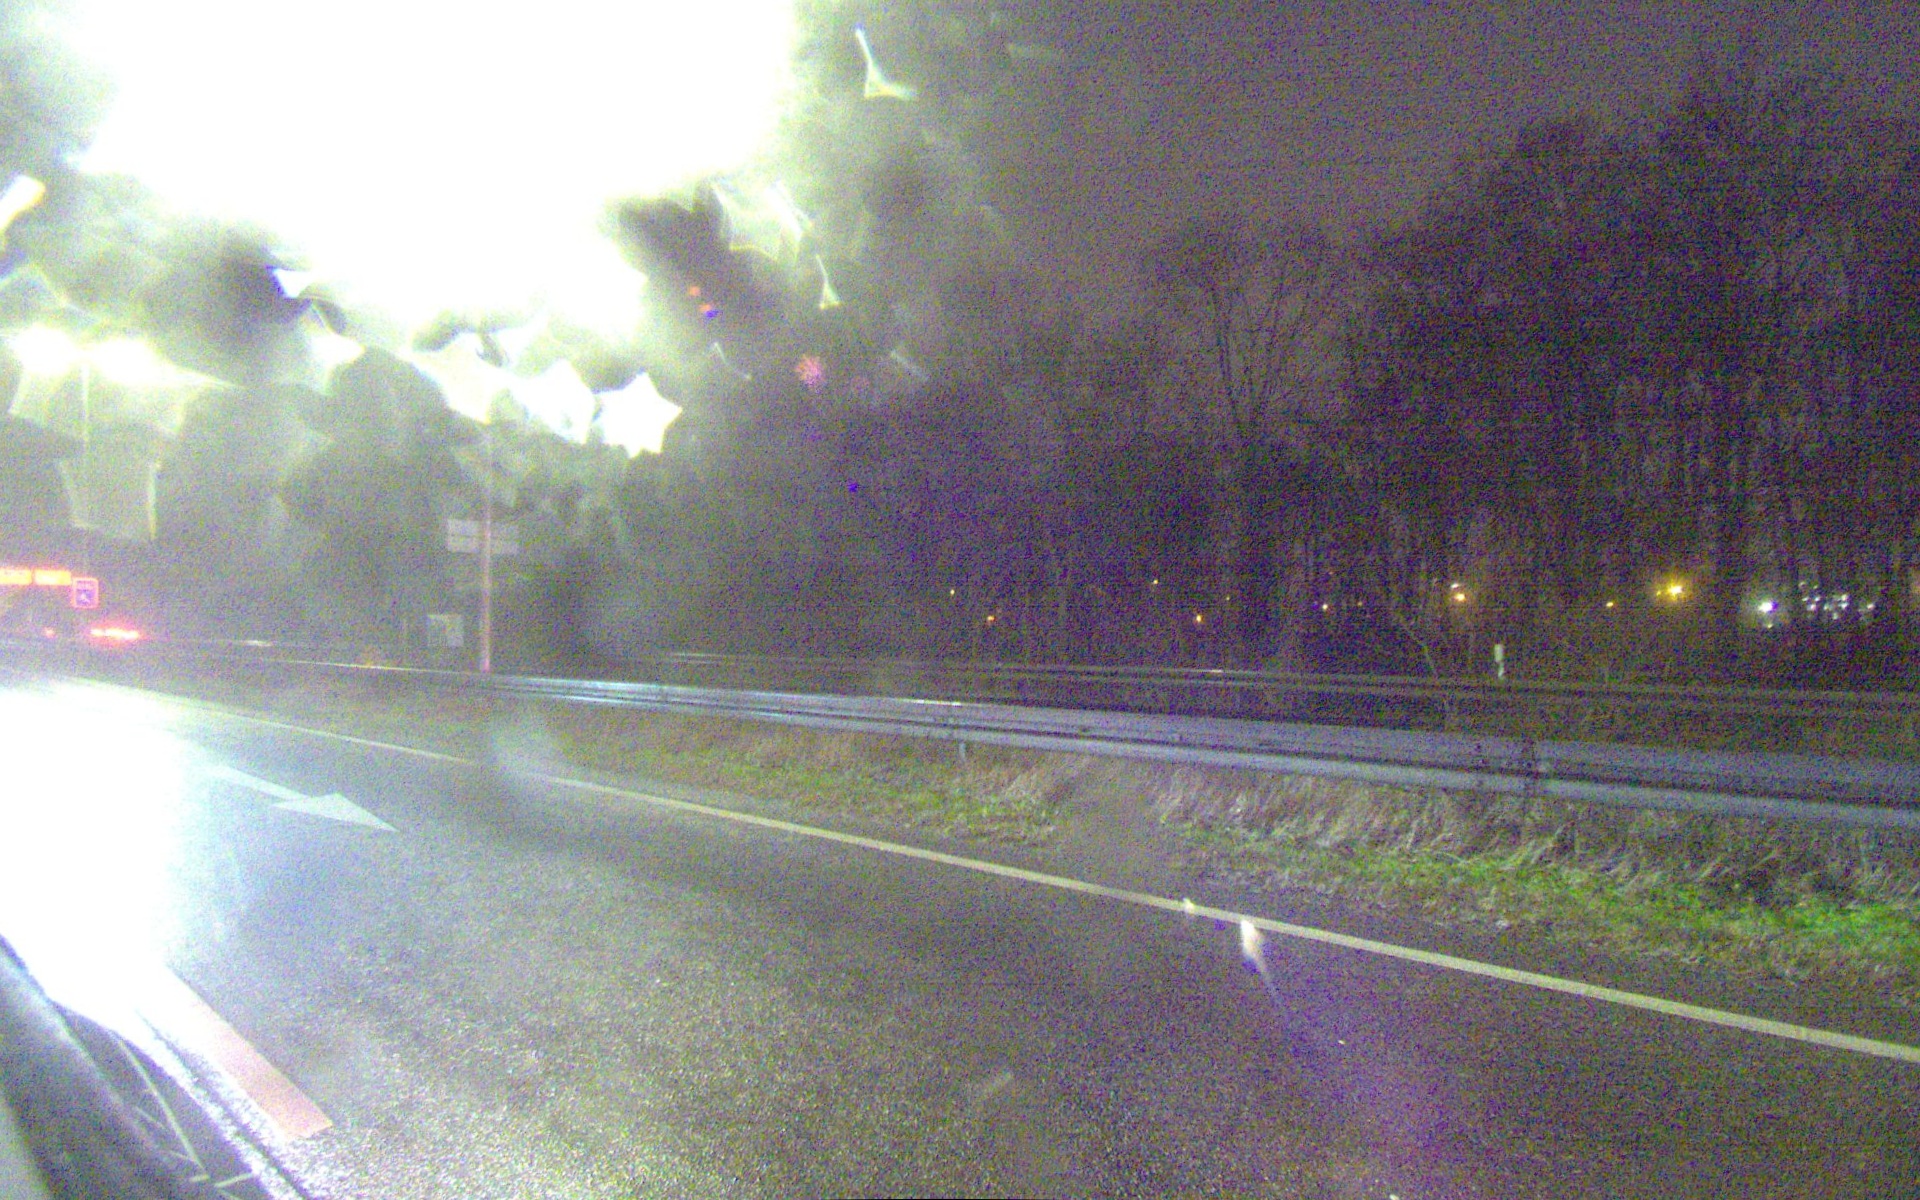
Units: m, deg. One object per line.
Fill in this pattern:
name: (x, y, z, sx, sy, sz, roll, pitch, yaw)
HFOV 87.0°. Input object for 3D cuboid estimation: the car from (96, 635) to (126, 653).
car: (-86.898, 4.481, 103.567, 4.000, 1.660, 1.841, -2, -1, 43)
